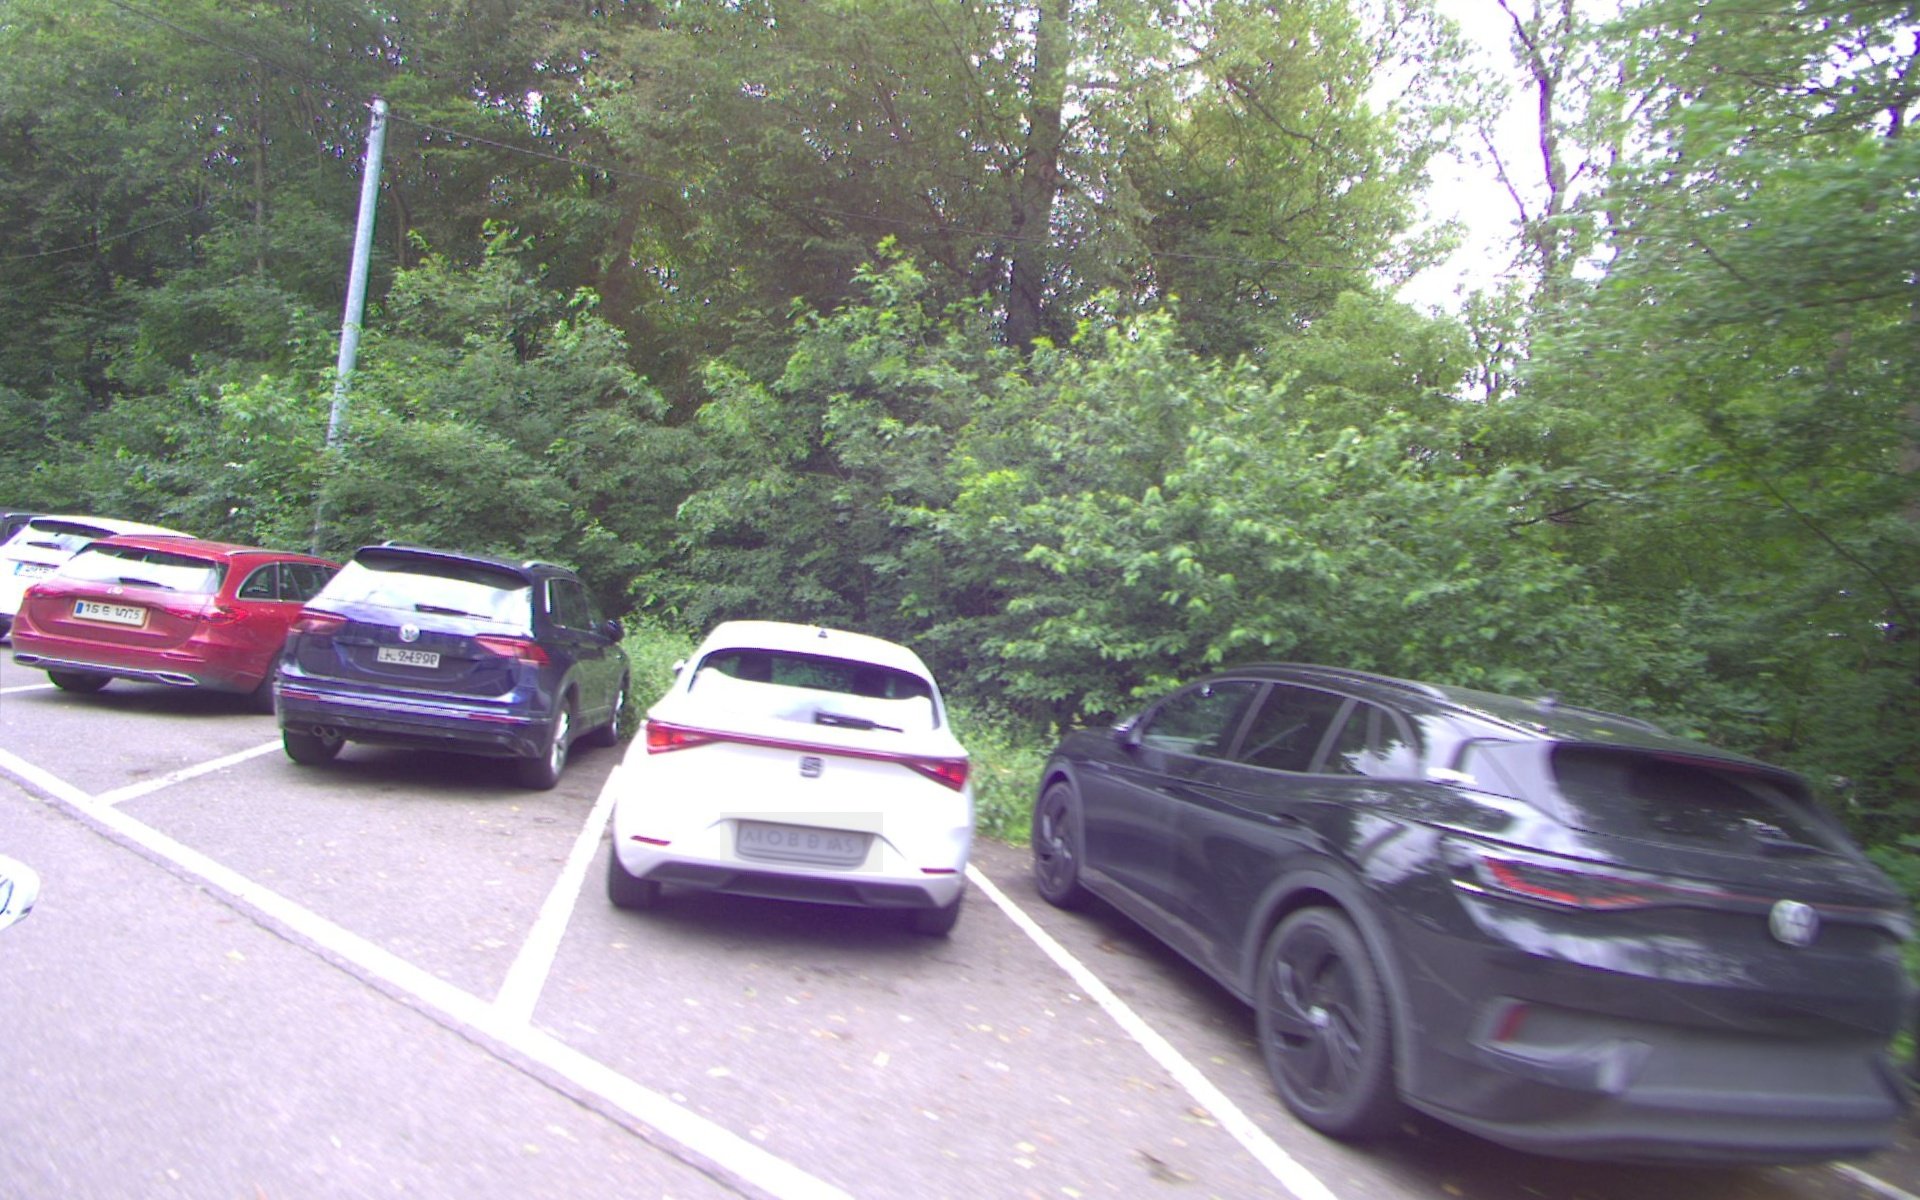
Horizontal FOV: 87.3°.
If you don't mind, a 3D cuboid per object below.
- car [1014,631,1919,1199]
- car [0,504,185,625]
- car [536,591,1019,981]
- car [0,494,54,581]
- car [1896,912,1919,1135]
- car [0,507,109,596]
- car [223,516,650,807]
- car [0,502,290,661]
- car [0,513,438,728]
[{"bbox_3d":[1.894,1.127,4.892,1.928,1.598,4.193,8,-2,-14],"label":"car"},{"bbox_3d":[-13.046,-0.545,14.013,1.776,1.474,4.179,8,-2,-12],"label":"car"},{"bbox_3d":[-1.064,0.850,6.282,1.838,1.455,4.115,8,-2,-9],"label":"car"},{"bbox_3d":[-19.479,-1.368,18.672,1.934,1.655,4.255,8,-2,-12],"label":"car"},{"bbox_3d":[5.229,1.542,2.559,1.673,1.509,3.784,8,-2,-13],"label":"car"},{"bbox_3d":[-16.278,-0.897,16.348,1.935,1.393,4.252,8,-2,-14],"label":"car"},{"bbox_3d":[-3.943,0.447,8.470,1.811,1.636,4.115,8,-2,-9],"label":"car"},{"bbox_3d":[-10.165,-0.208,12.415,1.706,1.522,3.577,8,-2,-10],"label":"car"},{"bbox_3d":[-6.997,0.195,9.838,1.895,1.430,4.293,8,-2,-8],"label":"car"}]
